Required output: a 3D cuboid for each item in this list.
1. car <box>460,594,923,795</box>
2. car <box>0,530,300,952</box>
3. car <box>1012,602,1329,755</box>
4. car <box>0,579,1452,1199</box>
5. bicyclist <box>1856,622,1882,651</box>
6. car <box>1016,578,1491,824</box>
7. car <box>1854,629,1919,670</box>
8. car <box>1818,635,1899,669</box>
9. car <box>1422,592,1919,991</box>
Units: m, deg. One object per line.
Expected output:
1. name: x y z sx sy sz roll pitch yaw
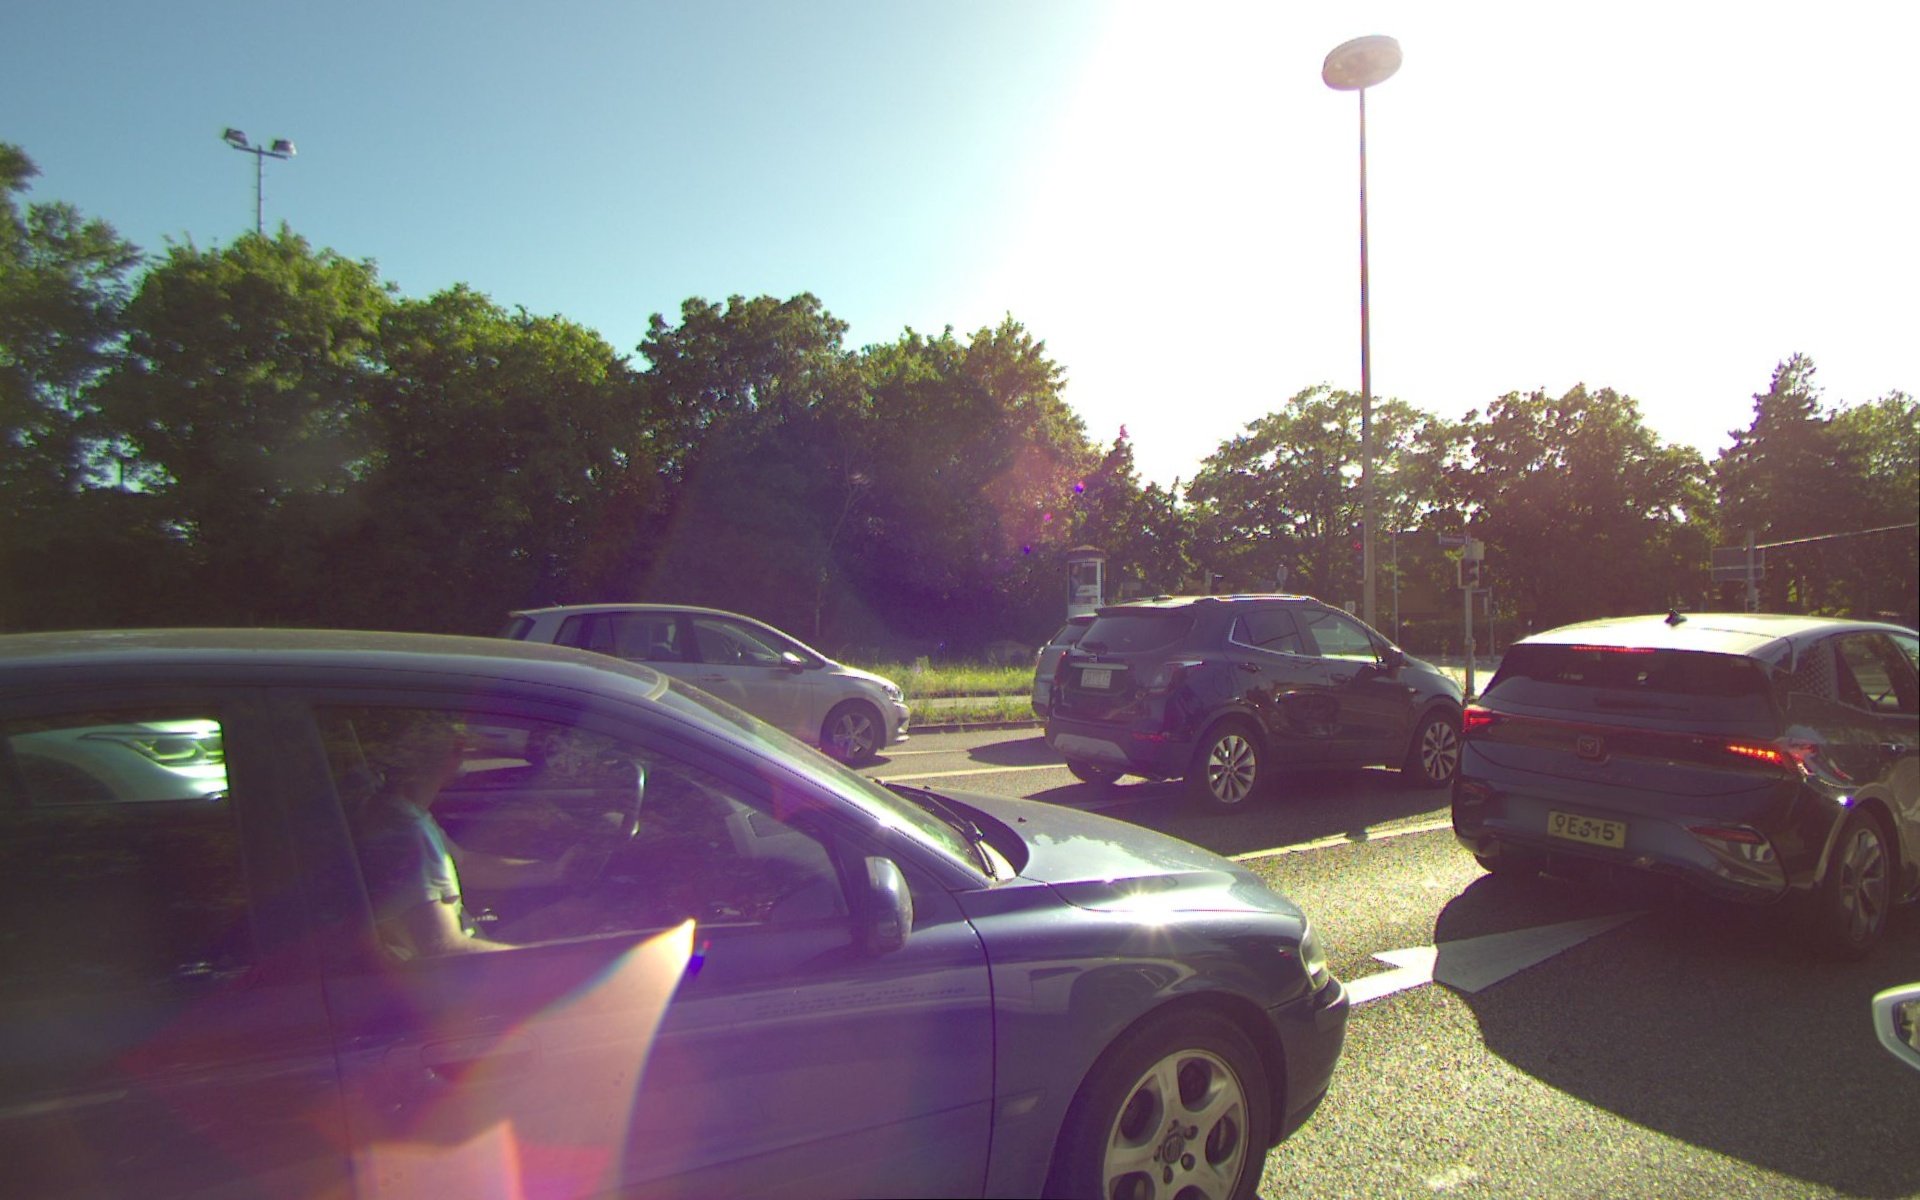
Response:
1. car: -2.615 0.829 10.010 4.156 1.632 1.822 1 -2 -30
2. car: -5.557 0.585 4.333 4.373 1.732 1.984 1 -2 -30
3. car: 2.809 0.947 13.186 3.956 1.724 1.820 1 -2 -32
4. car: -1.098 0.720 2.205 4.404 1.471 1.767 2 0 -30
5. bicyclist: 53.562 2.139 59.199 1.188 1.670 0.870 1 -2 -36
6. car: 2.618 0.764 8.799 3.953 1.711 1.796 1 -2 -30
7. car: 37.987 1.954 40.289 4.451 1.544 1.880 1 -2 -30
8. car: 41.744 2.396 46.655 3.956 1.529 1.678 1 -2 -30
9. car: 4.738 0.823 5.820 4.158 1.601 1.676 2 -1 -30
